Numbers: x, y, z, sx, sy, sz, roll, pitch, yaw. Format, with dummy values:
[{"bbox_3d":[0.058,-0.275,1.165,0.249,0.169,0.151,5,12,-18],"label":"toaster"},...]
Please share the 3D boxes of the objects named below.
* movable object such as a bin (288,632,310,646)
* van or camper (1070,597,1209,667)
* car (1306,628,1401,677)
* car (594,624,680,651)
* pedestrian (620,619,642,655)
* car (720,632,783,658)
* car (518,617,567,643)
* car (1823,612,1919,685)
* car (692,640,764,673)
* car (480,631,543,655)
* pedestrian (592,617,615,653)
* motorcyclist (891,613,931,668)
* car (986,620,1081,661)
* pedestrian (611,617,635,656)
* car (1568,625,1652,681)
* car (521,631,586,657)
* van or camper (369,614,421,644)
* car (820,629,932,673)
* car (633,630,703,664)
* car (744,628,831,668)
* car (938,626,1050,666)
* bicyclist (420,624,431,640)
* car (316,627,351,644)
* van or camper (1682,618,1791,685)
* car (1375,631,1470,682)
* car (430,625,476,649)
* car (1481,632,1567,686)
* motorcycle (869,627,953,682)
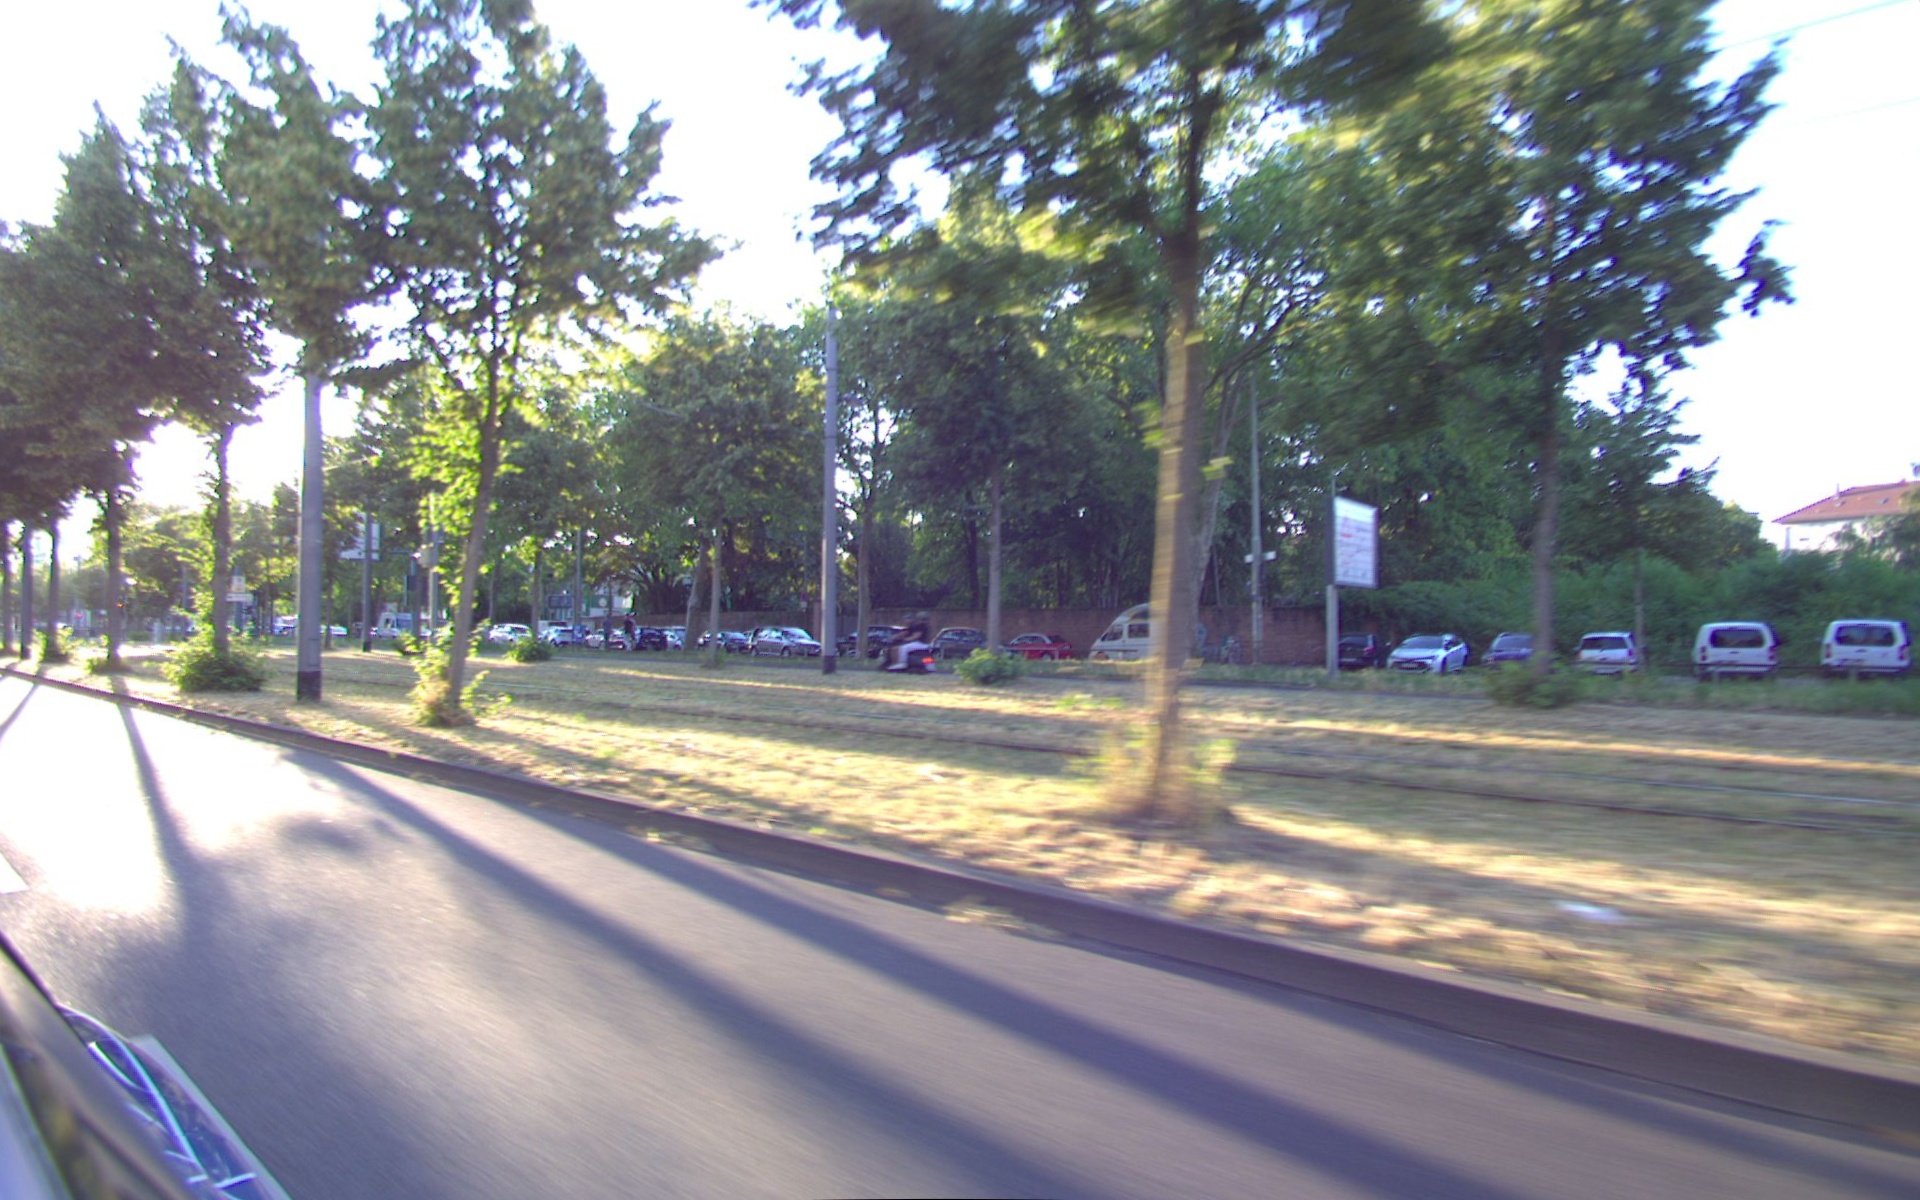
[{"bbox_3d":[-66.587,3.938,101.949,1.724,1.383,1.536,-2,-2,42],"label":"movable object such as a bin"},{"bbox_3d":[7.482,1.350,42.611,5.489,2.756,2.064,-1,-2,39],"label":"van or camper"},{"bbox_3d":[14.320,1.869,36.737,1.922,1.652,3.943,-2,-2,43],"label":"car"},{"bbox_3d":[-16.906,1.945,52.851,5.140,1.325,1.972,-2,-2,42],"label":"car"},{"bbox_3d":[-16.424,1.842,50.533,0.864,1.772,0.687,-1,-2,33],"label":"pedestrian"},{"bbox_3d":[-12.575,2.685,60.879,1.969,1.497,4.004,1,-2,-42],"label":"car"},{"bbox_3d":[-34.557,2.485,83.705,5.060,2.029,1.971,-2,-2,44],"label":"car"},{"bbox_3d":[25.332,1.304,28.112,2.011,1.858,3.945,-2,-2,41],"label":"car"},{"bbox_3d":[-11.620,2.781,50.549,1.782,1.572,3.841,2,-2,-44],"label":"car"},{"bbox_3d":[-28.452,2.706,64.169,4.555,1.510,1.972,-2,-2,42],"label":"car"},{"bbox_3d":[-17.517,1.725,49.700,0.865,1.756,0.686,-2,-2,39],"label":"pedestrian"},{"bbox_3d":[-1.253,1.041,25.987,0.804,1.386,0.674,-2,-3,40],"label":"motorcyclist"},{"bbox_3d":[3.340,1.838,46.293,3.997,1.763,1.973,-1,-2,40],"label":"car"},{"bbox_3d":[-16.561,1.779,49.741,0.864,1.884,0.687,-1,-2,33],"label":"pedestrian"},{"bbox_3d":[20.676,1.627,32.132,1.919,1.652,3.950,-2,-2,37],"label":"car"},{"bbox_3d":[-24.364,2.583,60.563,4.305,1.511,1.880,-2,-2,42],"label":"car"},{"bbox_3d":[-46.131,2.358,82.581,2.258,2.383,5.786,1,-2,-45],"label":"van or camper"},{"bbox_3d":[-3.638,2.127,43.120,4.787,1.763,1.973,-1,-2,40],"label":"car"},{"bbox_3d":[-16.115,2.546,55.777,1.970,1.763,4.163,2,-2,-44],"label":"car"},{"bbox_3d":[-7.993,2.177,46.715,1.970,1.763,4.163,2,-2,-44],"label":"car"},{"bbox_3d":[1.322,1.778,39.644,3.991,1.497,1.976,-1,-2,35],"label":"car"},{"bbox_3d":[-51.907,3.067,98.268,0.720,1.545,1.086,2,-3,-44],"label":"bicyclist"},{"bbox_3d":[-58.854,3.301,95.034,4.053,1.543,1.790,-2,-2,42],"label":"car"},{"bbox_3d":[22.713,1.473,29.755,1.992,1.805,3.958,-1,-2,30],"label":"van or camper"},{"bbox_3d":[16.174,1.926,35.295,1.922,1.652,3.944,-2,-2,42],"label":"car"},{"bbox_3d":[-36.289,2.637,72.402,1.969,1.652,4.005,1,-2,-42],"label":"car"},{"bbox_3d":[18.554,1.888,33.236,1.919,1.652,3.950,-2,-2,37],"label":"car"},{"bbox_3d":[-1.274,1.374,26.012,2.343,1.347,0.675,-2,-2,40],"label":"motorcycle"}]
